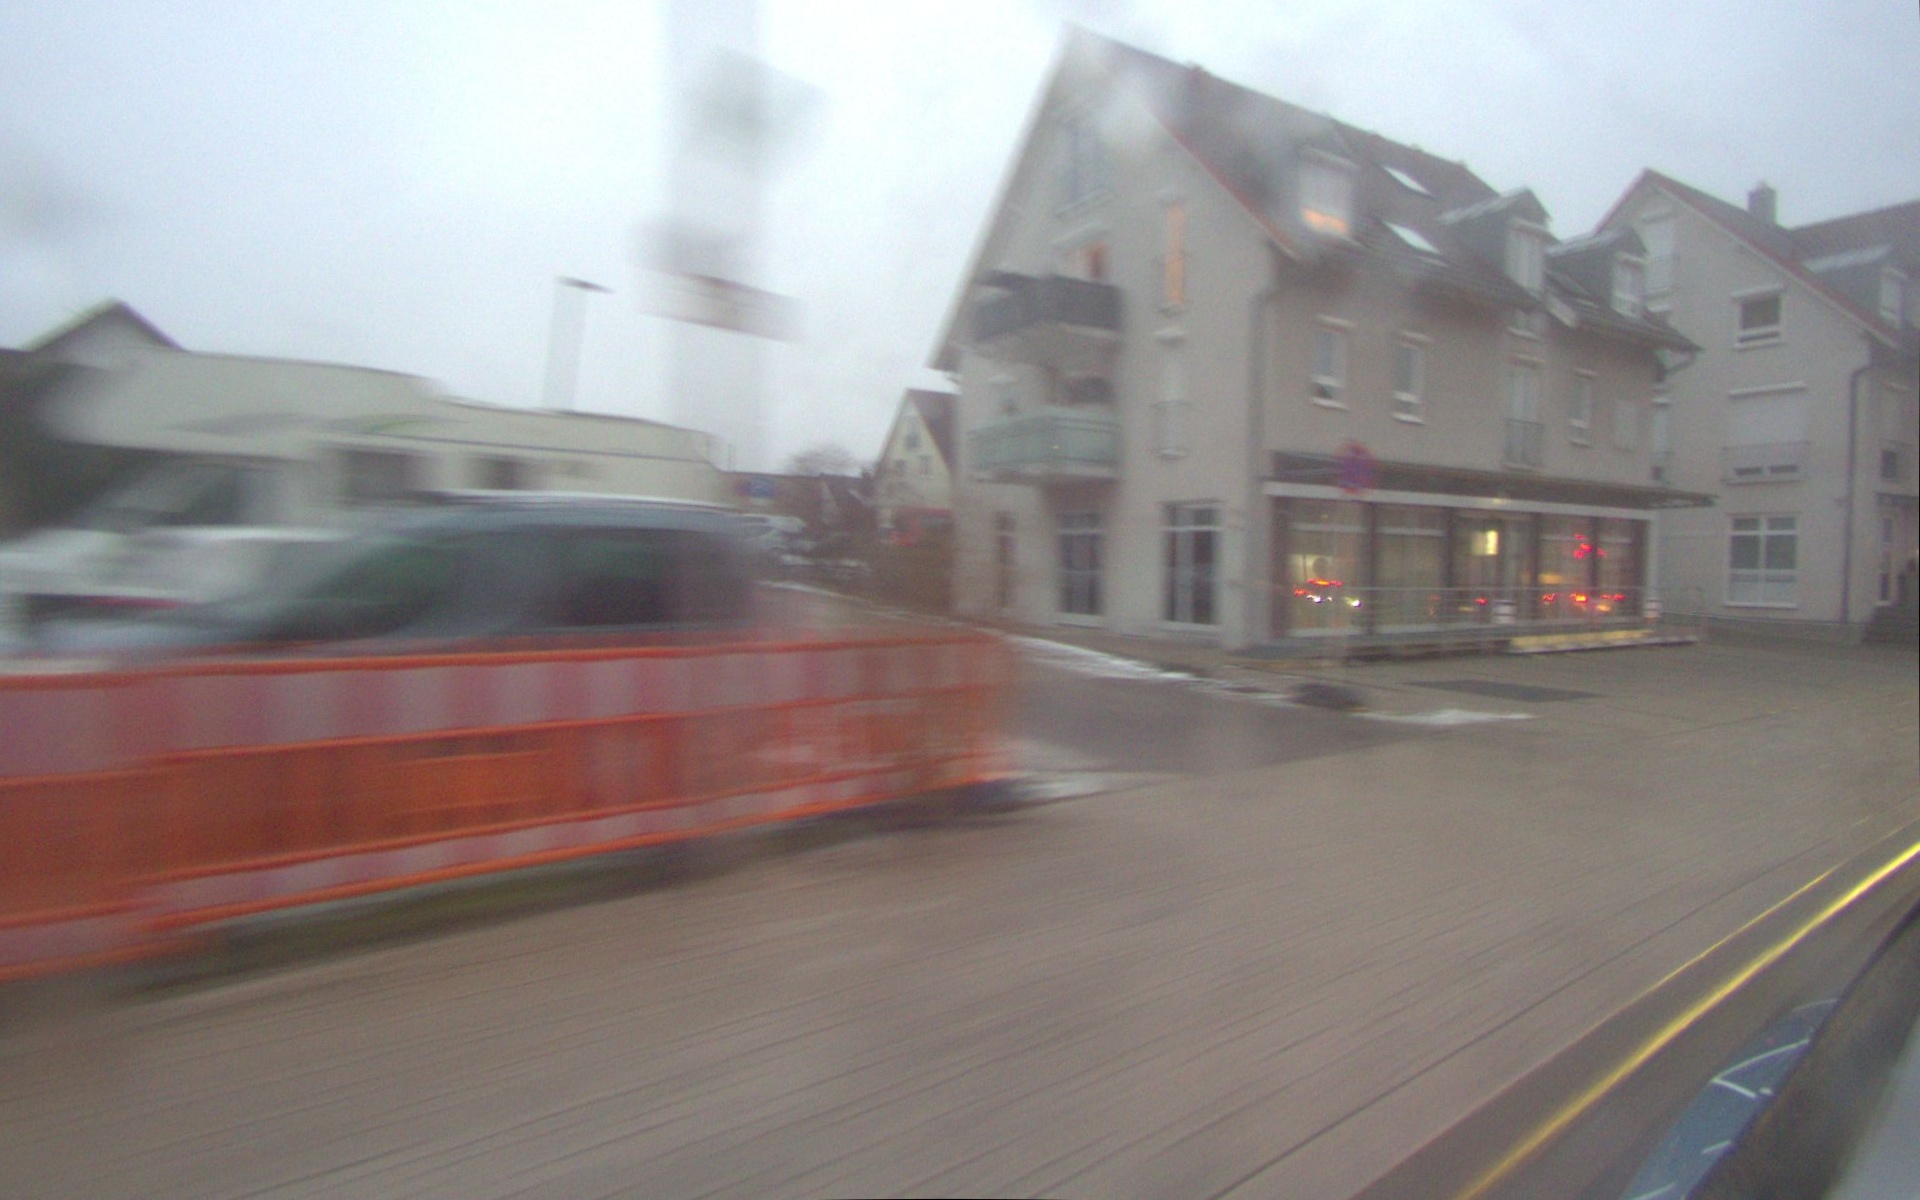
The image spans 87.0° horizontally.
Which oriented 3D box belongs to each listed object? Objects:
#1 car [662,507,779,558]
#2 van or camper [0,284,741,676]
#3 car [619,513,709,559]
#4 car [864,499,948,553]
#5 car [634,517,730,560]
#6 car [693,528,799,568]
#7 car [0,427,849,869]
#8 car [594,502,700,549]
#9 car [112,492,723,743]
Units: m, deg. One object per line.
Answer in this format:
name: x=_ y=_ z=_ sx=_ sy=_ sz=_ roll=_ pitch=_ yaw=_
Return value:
car: x=-10.461 y=-2.885 z=44.219 sx=4.634 sy=1.982 sz=2.003 roll=0 pitch=1 yaw=-27
van or camper: x=-6.070 y=-1.078 z=11.197 sx=6.620 sy=3.083 sz=2.656 roll=0 pitch=5 yaw=-43
car: x=-14.351 y=-3.063 z=49.069 sx=3.918 sy=2.039 sz=2.003 roll=0 pitch=1 yaw=-27
car: x=-2.377 y=-3.149 z=43.887 sx=1.961 sy=2.039 sz=4.003 roll=0 pitch=1 yaw=-32
car: x=-12.862 y=-2.819 z=46.820 sx=3.918 sy=1.795 sz=2.003 roll=0 pitch=1 yaw=-27
car: x=-8.822 y=-2.110 z=41.694 sx=3.918 sy=1.503 sz=2.003 roll=0 pitch=1 yaw=-27
car: x=-3.029 y=0.136 z=5.941 sx=4.269 sy=1.786 sz=2.001 roll=0 pitch=3 yaw=-37
car: x=-16.877 y=-3.958 z=54.685 sx=5.145 sy=2.216 sz=2.001 roll=0 pitch=1 yaw=-34
car: x=-4.325 y=0.007 z=8.528 sx=4.095 sy=1.630 sz=2.002 roll=-1 pitch=4 yaw=-34
